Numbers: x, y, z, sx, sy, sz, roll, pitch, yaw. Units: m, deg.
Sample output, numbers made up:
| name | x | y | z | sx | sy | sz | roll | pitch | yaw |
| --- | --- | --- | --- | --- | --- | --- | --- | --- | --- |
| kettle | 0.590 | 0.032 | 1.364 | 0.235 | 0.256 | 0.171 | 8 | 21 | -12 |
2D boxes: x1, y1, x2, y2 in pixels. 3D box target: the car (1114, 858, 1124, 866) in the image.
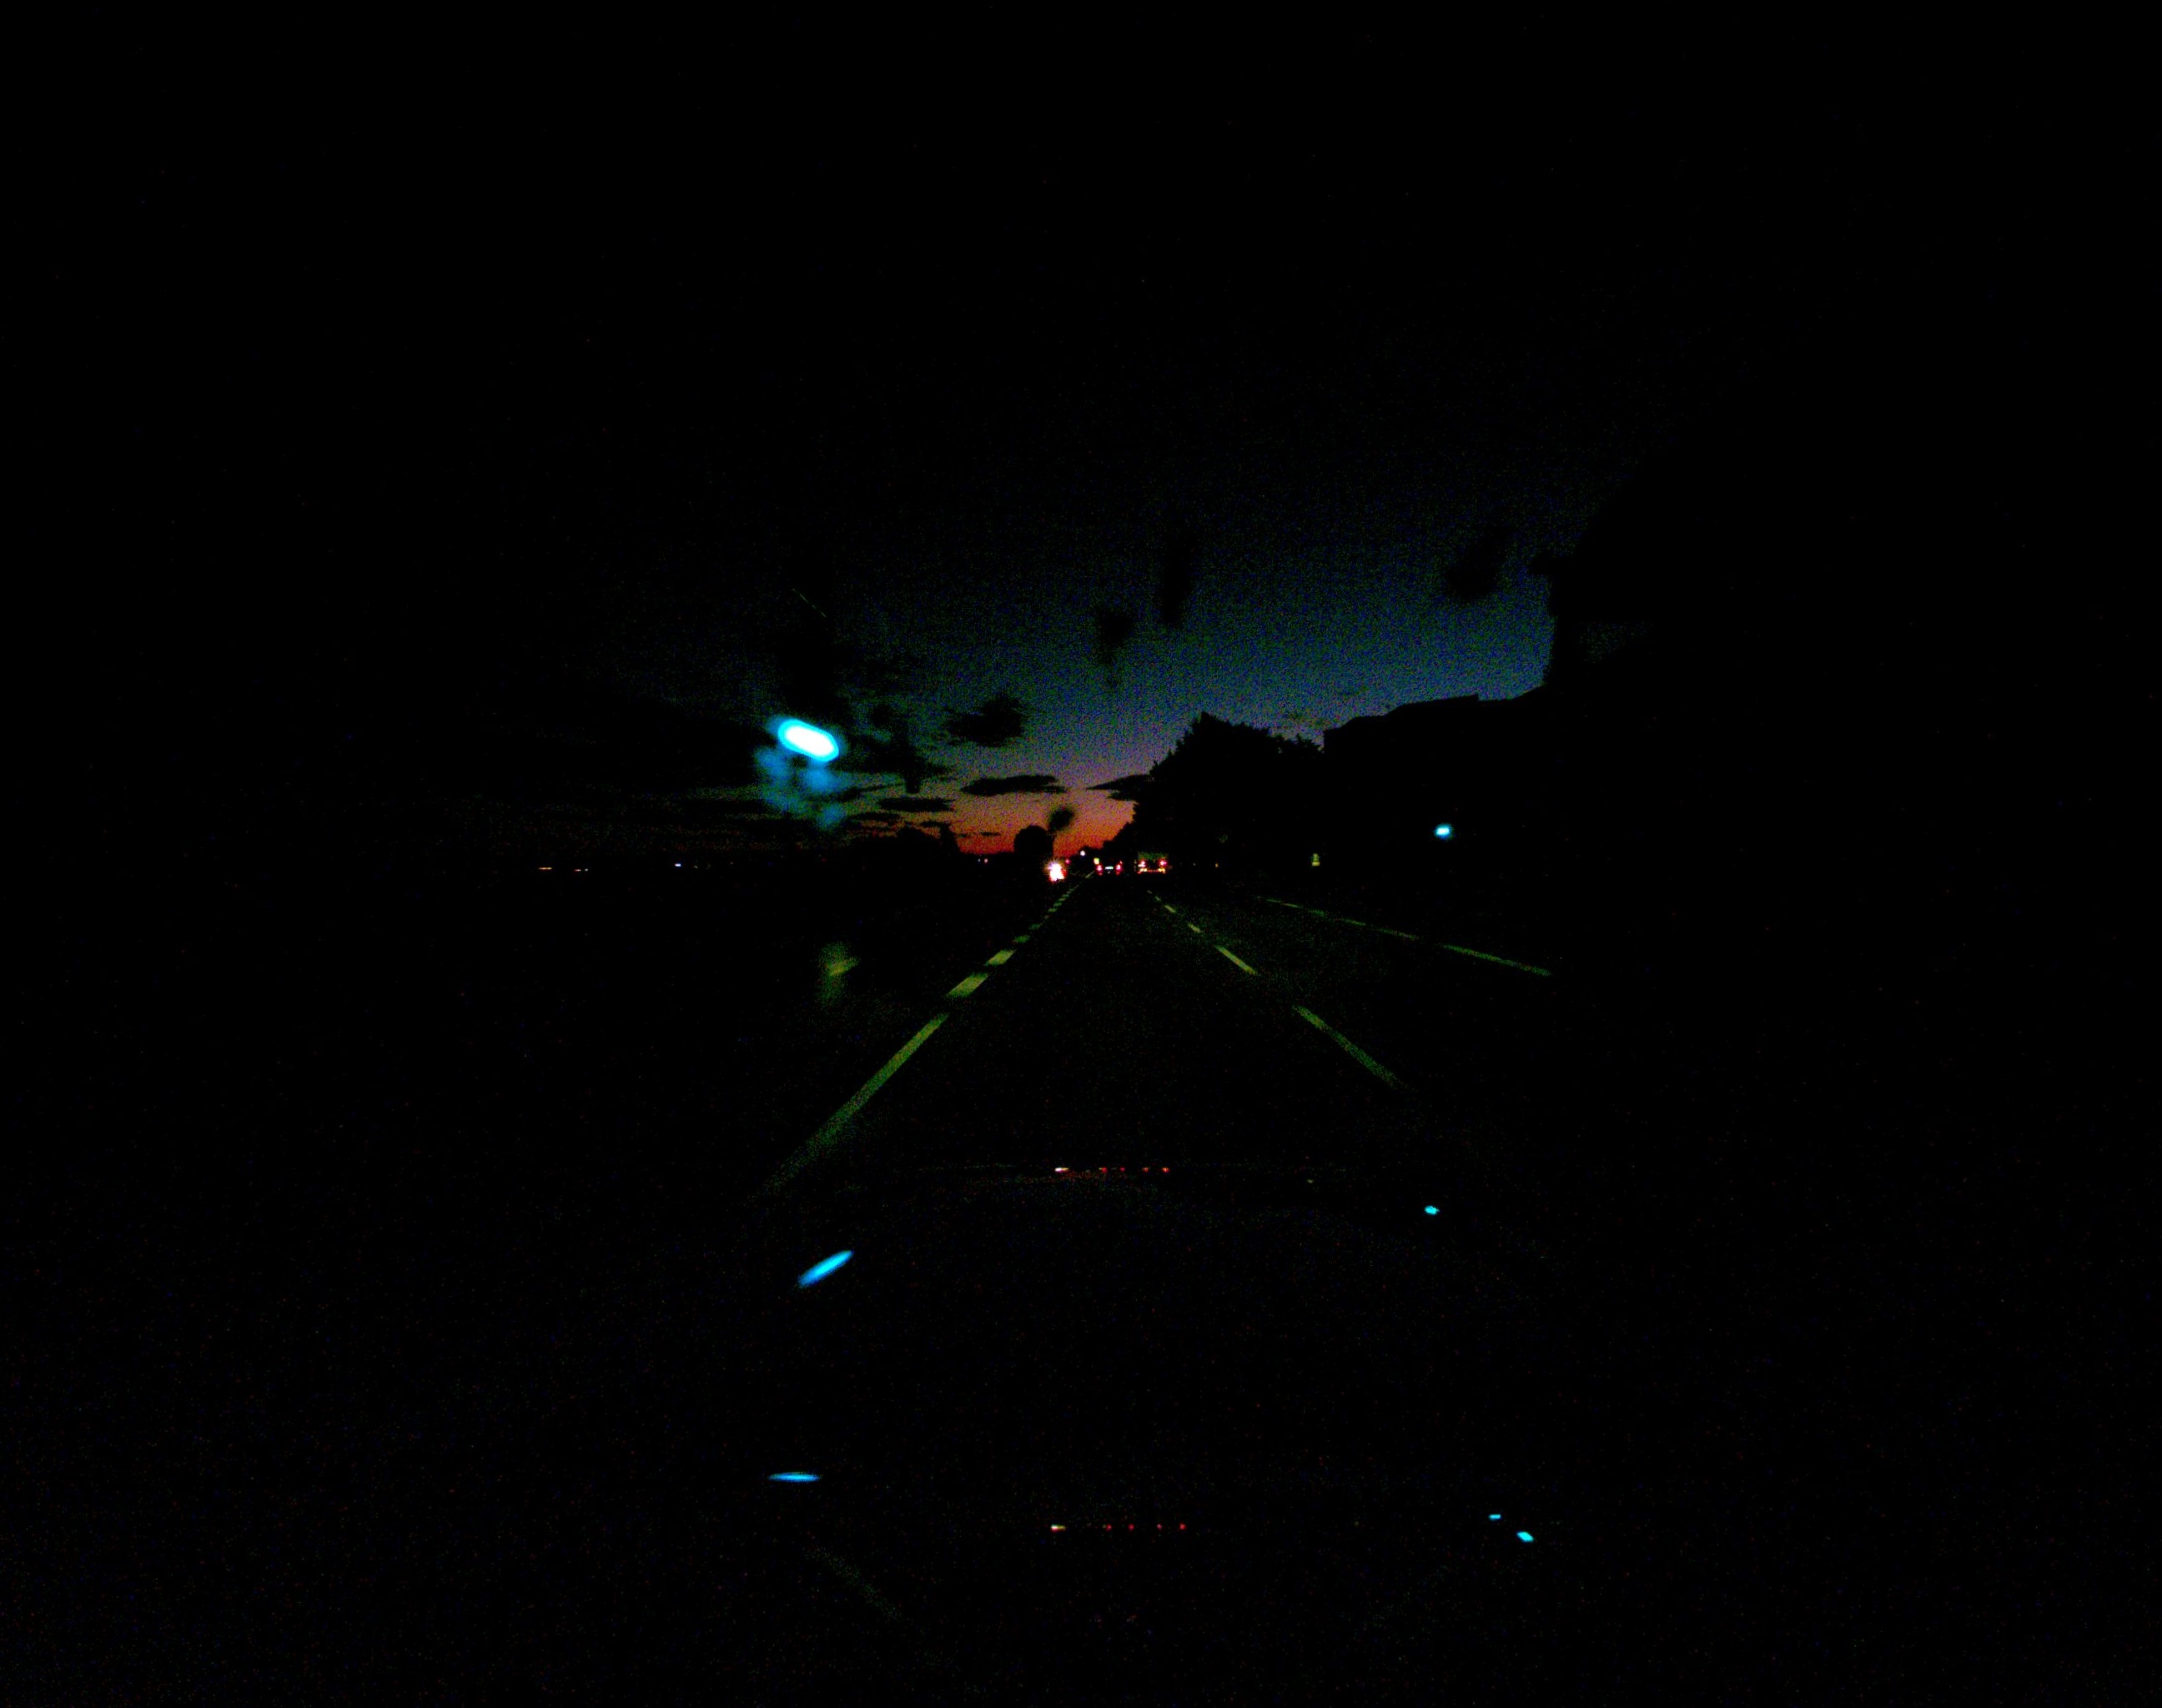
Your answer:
| name | x | y | z | sx | sy | sz | roll | pitch | yaw |
| --- | --- | --- | --- | --- | --- | --- | --- | --- | --- |
| car | 7.461 | 1.550 | 159.346 | 1.690 | 1.452 | 3.914 | -1 | 0 | 0 |

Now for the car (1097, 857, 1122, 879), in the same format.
| name | x | y | z | sx | sy | sz | roll | pitch | yaw |
| --- | --- | --- | --- | --- | --- | --- | --- | --- | --- |
| car | 2.017 | 0.993 | 58.494 | 1.690 | 1.452 | 3.914 | -1 | 0 | 0 |

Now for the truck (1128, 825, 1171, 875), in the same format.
| name | x | y | z | sx | sy | sz | roll | pitch | yaw |
| --- | --- | --- | --- | --- | --- | --- | --- | --- | --- |
| truck | 6.038 | -0.285 | 73.550 | 2.873 | 4.106 | 12.682 | -1 | 0 | 0 |
